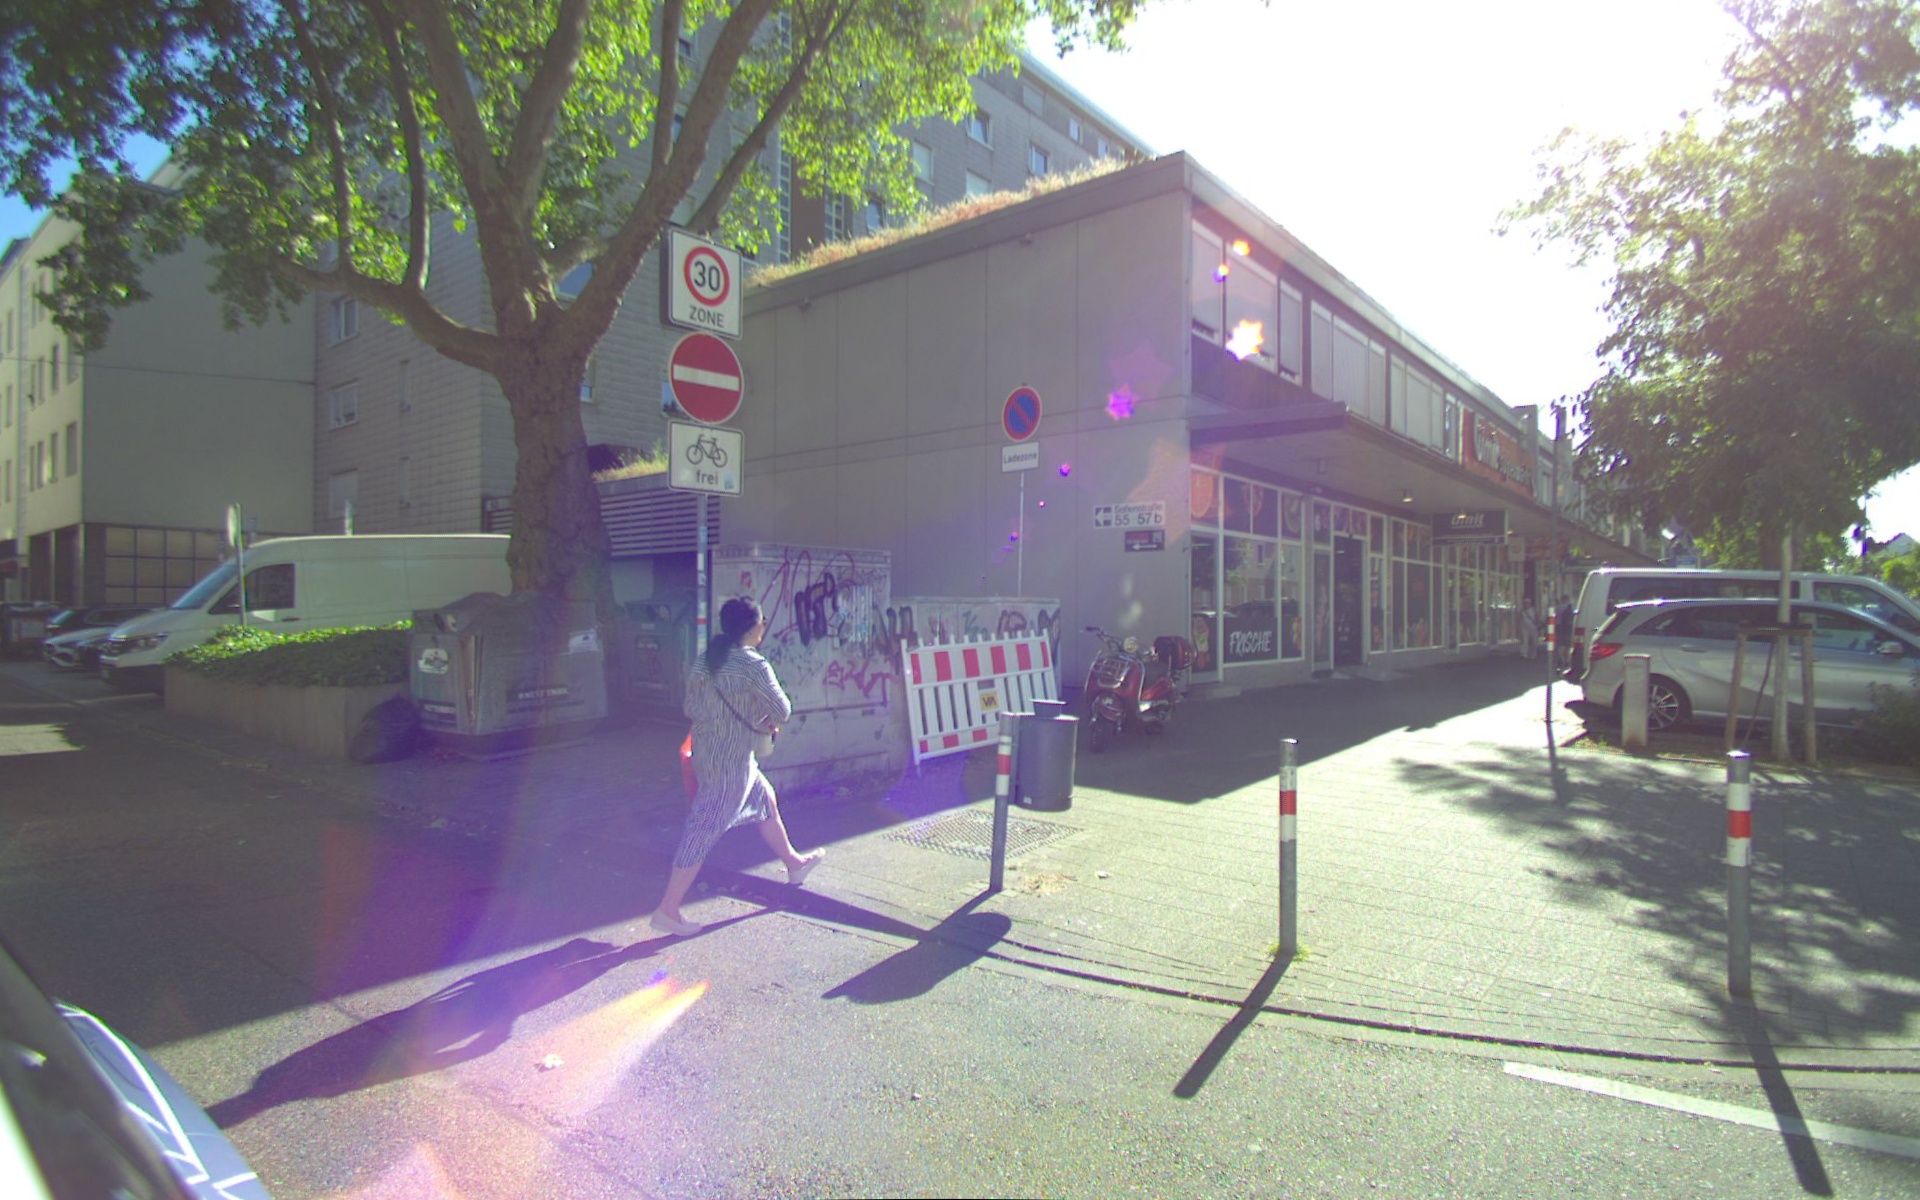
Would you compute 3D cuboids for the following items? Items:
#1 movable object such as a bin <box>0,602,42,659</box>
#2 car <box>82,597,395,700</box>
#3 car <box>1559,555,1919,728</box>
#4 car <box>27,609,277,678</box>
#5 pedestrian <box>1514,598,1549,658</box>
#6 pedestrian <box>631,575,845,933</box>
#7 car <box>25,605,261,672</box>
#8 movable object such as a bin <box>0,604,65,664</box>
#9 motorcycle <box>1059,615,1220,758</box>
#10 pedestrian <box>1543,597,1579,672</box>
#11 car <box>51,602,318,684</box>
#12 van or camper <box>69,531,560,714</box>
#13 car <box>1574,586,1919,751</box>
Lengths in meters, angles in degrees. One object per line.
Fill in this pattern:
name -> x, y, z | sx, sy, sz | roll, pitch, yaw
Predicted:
movable object such as a bin -> -25.504, 0.802, 27.044 | 1.515, 1.512, 1.207 | 0, -1, 38
car -> -13.061, 0.788, 18.577 | 1.697, 1.545, 4.361 | -1, 1, 38
car -> 10.768, 0.471, 13.342 | 4.739, 2.021, 1.935 | 1, 0, 38
car -> -18.931, 0.953, 23.934 | 1.595, 1.474, 4.368 | -1, -1, 33
pedestrian -> 14.924, 0.716, 26.426 | 0.689, 1.533, 0.525 | 1, 0, 41
pedestrian -> -1.043, 0.682, 4.939 | 0.835, 1.585, 0.846 | 0, 0, 3
car -> -20.502, 0.918, 25.589 | 1.694, 1.545, 4.368 | -1, -1, 33
movable object such as a bin -> -24.262, 0.860, 26.301 | 1.193, 1.512, 1.312 | -1, -1, 38
motorcycle -> 1.776, 0.772, 9.774 | 0.669, 1.189, 1.896 | -1, 1, 40
pedestrian -> 13.733, 0.777, 23.125 | 0.566, 1.678, 0.702 | 1, 0, 41
car -> -16.946, 0.873, 22.345 | 1.694, 1.629, 4.368 | -1, -1, 33
van or camper -> -10.747, 0.183, 17.595 | 1.999, 2.593, 6.836 | -1, 2, 40
car -> 9.375, 0.690, 11.138 | 4.299, 1.625, 1.735 | -1, -1, 39
